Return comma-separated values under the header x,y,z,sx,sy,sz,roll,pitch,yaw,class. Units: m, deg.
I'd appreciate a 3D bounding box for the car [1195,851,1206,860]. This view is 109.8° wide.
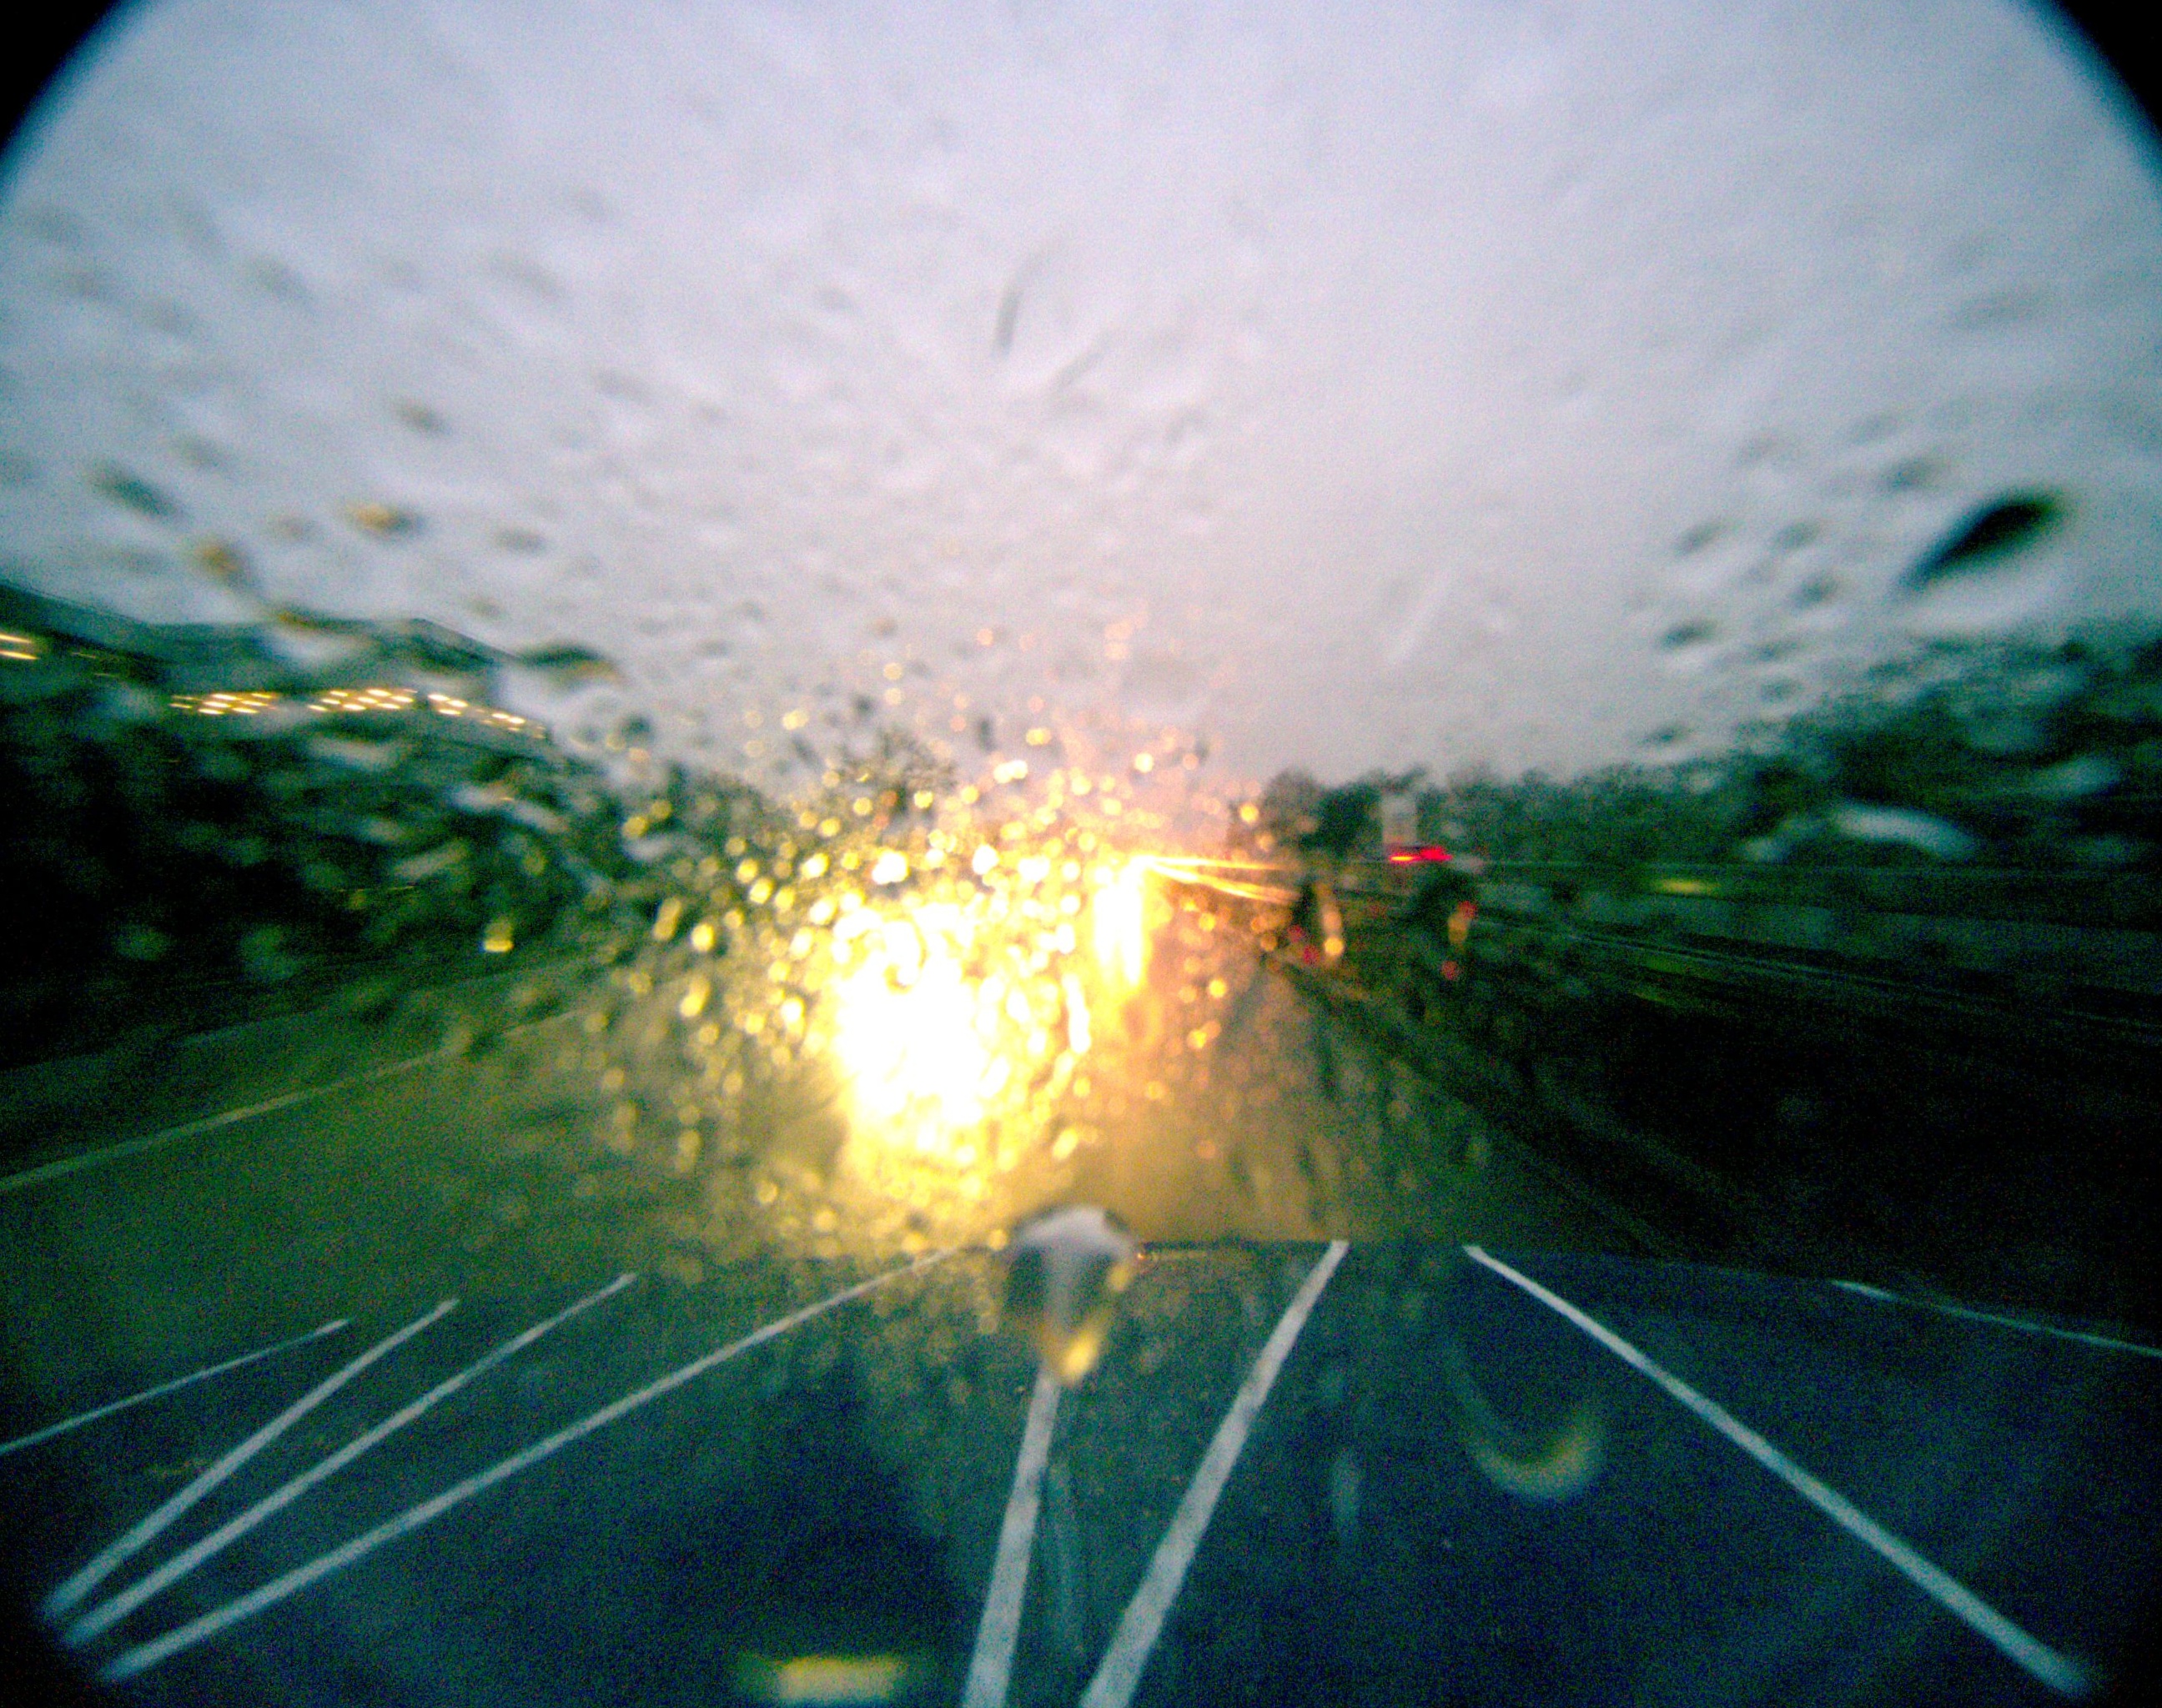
x,y,z,sx,sy,sz,roll,pitch,yaw,class
24.990,0.325,158.528,1.870,1.618,4.781,-2,0,5,car

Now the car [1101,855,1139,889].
x,y,z,sx,sy,sz,roll,pitch,yaw,class
1.981,0.832,37.878,1.758,1.521,4.001,-2,0,4,car

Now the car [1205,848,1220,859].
x,y,z,sx,sy,sz,roll,pitch,yaw,class
19.481,-0.071,112.706,1.701,1.433,3.682,-2,0,3,car

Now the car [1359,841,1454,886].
x,y,z,sx,sy,sz,roll,pitch,yaw,class
12.366,0.324,29.186,1.842,1.547,4.355,-2,0,1,car

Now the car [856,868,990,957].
x,y,z,sx,sy,sz,roll,pitch,yaw,class
-2.995,1.055,15.258,1.594,1.445,4.177,-2,0,3,car

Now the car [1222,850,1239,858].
x,y,z,sx,sy,sz,roll,pitch,yaw,class
24.704,-0.030,125.631,1.802,1.155,3.999,-2,0,-2,car
